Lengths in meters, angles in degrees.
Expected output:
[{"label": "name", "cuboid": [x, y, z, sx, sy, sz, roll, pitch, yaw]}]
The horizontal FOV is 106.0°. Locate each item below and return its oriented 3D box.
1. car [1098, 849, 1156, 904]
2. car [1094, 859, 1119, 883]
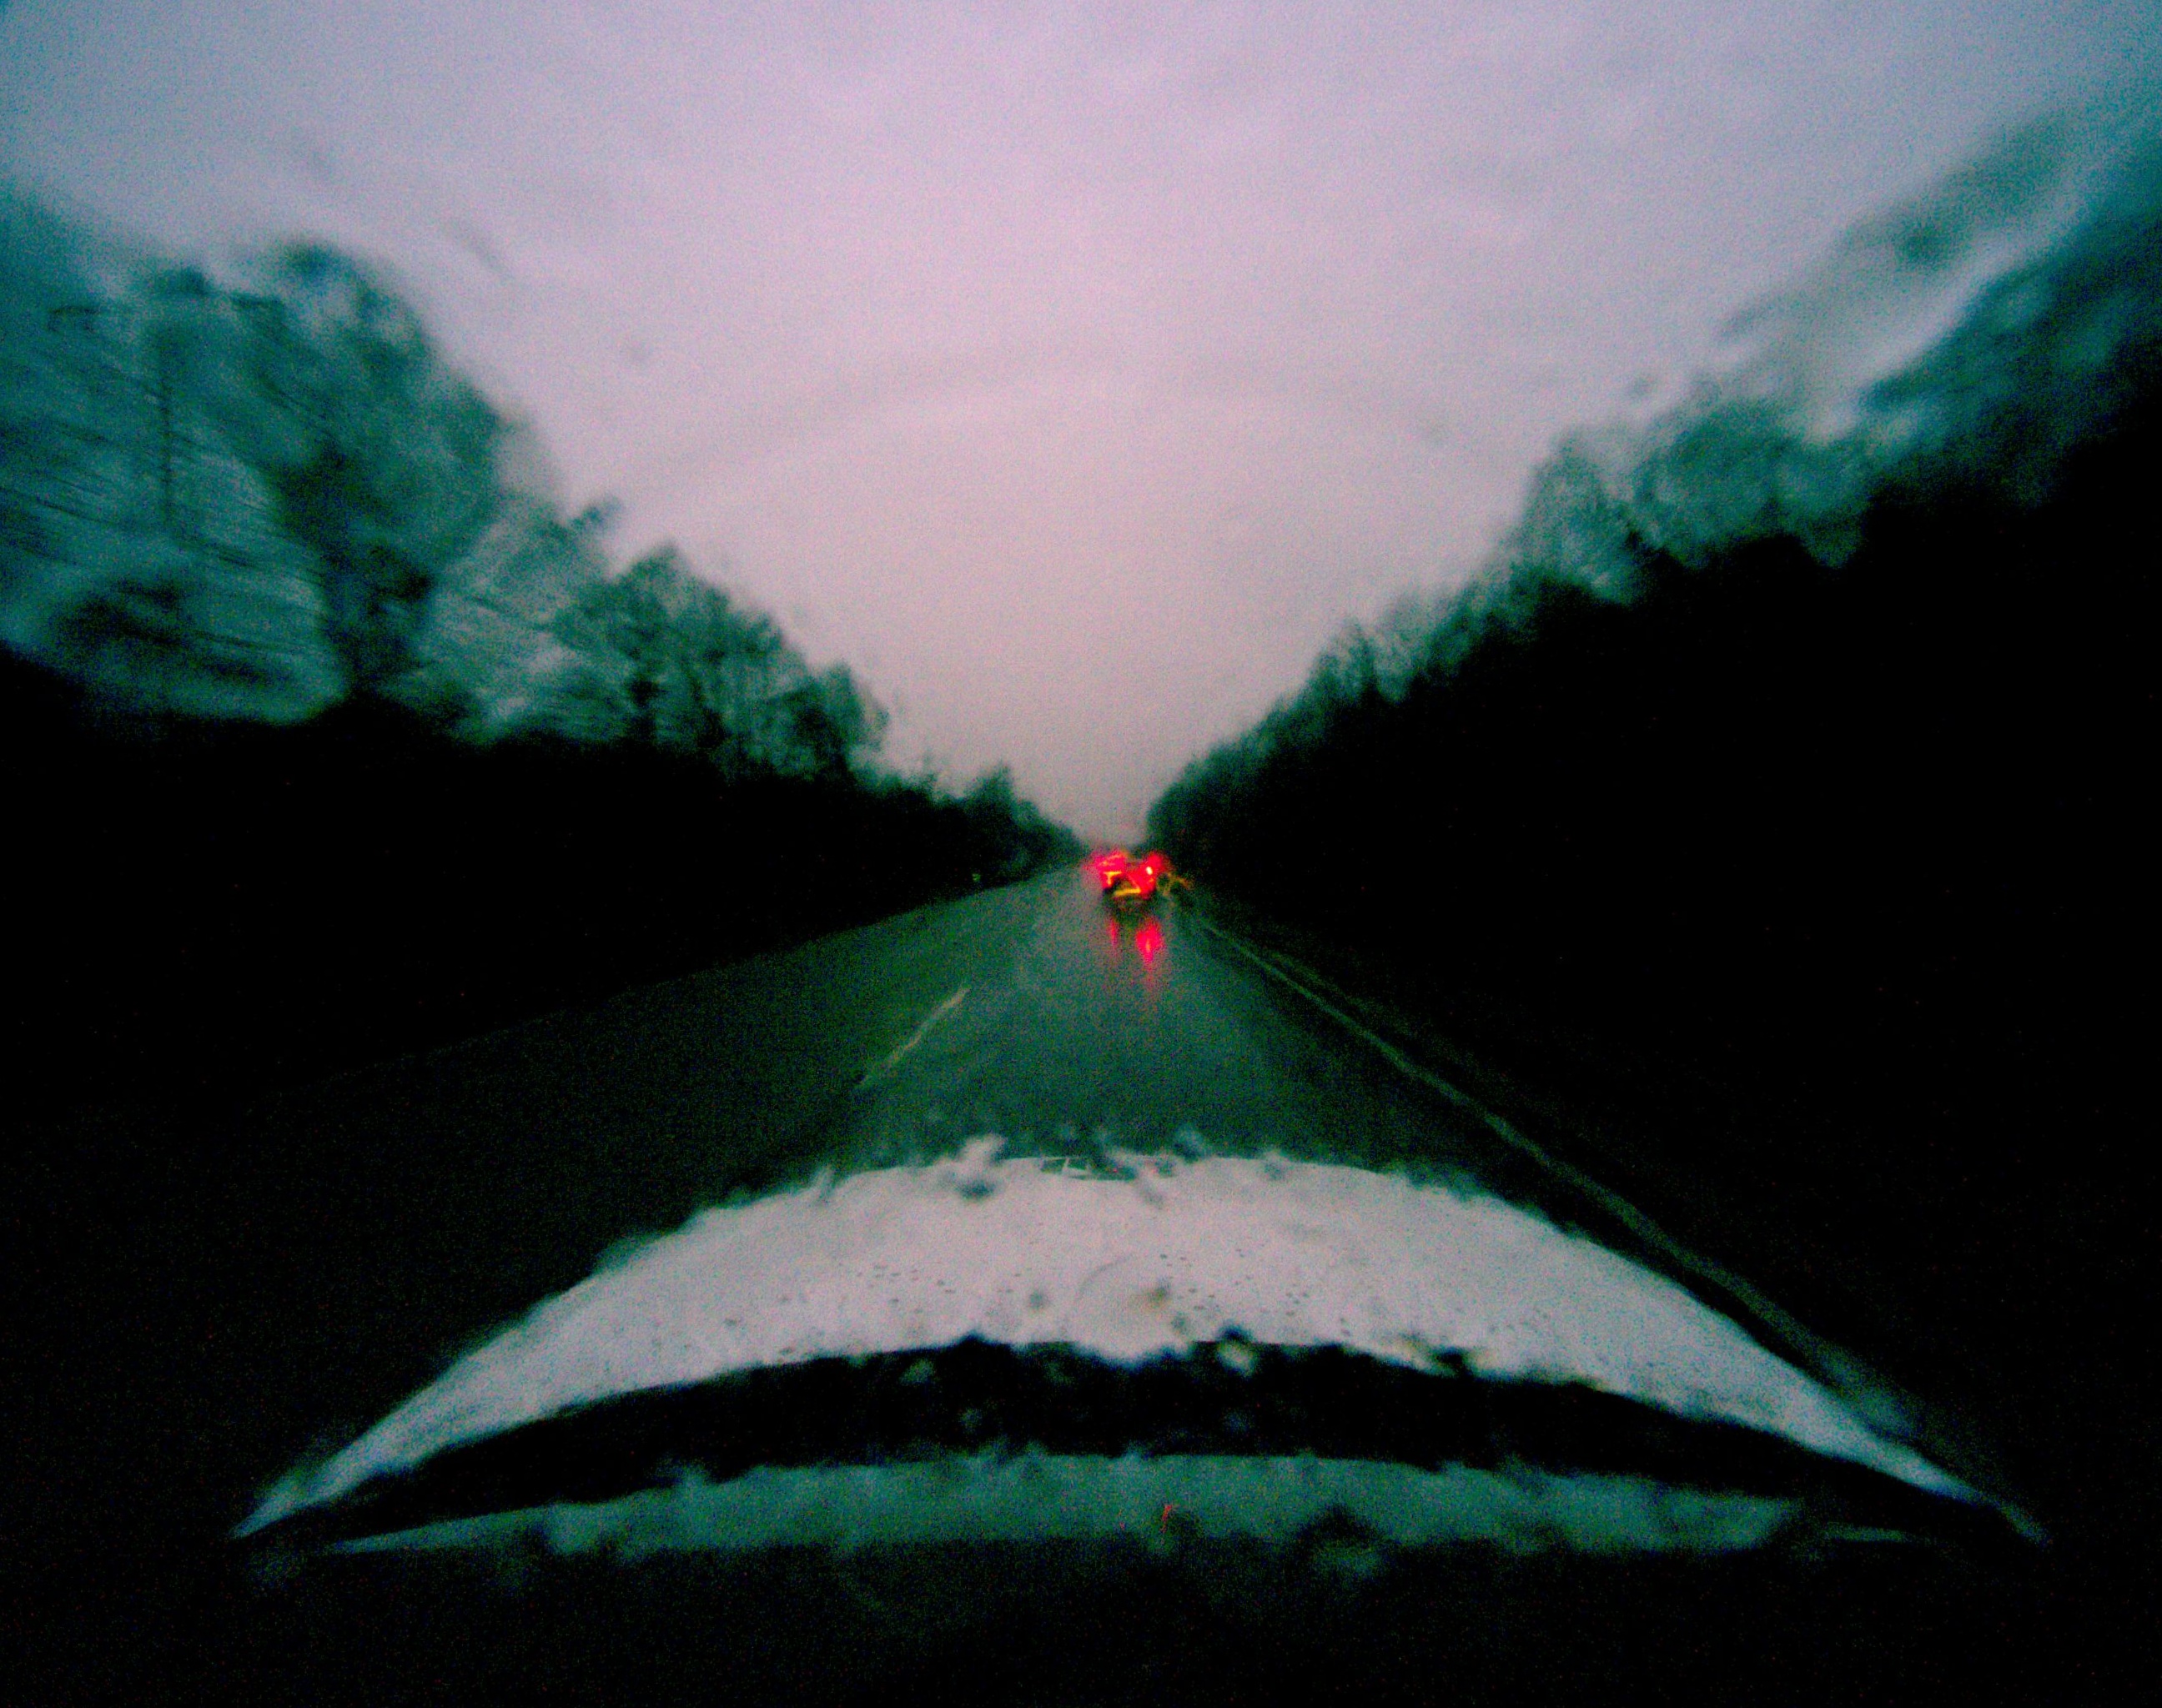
[{"label": "car", "cuboid": [1.492, 0.696, 26.491, 1.720, 1.643, 4.003, -1, -1, 3]}, {"label": "car", "cuboid": [1.909, 1.232, 59.957, 1.720, 1.643, 4.003, -1, -1, 3]}]
